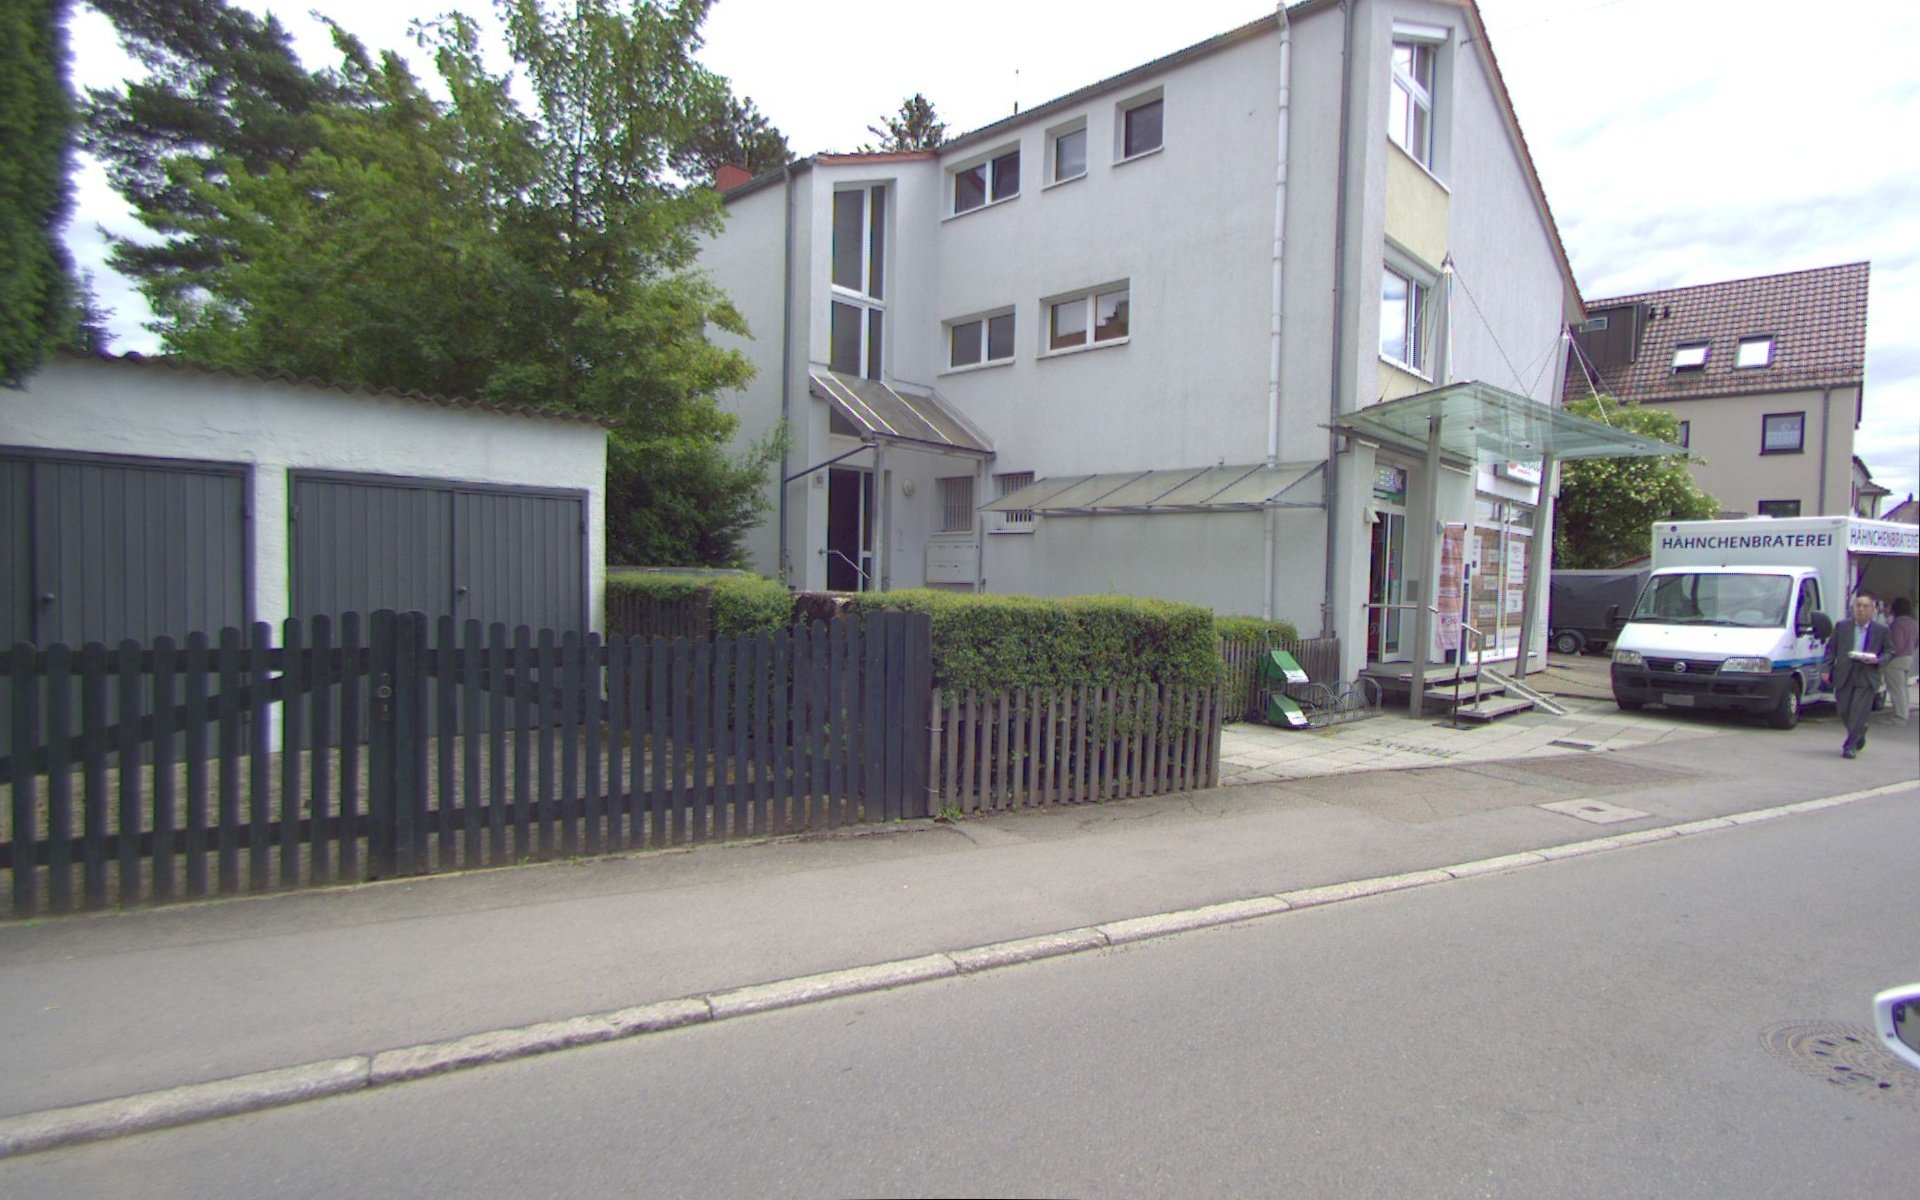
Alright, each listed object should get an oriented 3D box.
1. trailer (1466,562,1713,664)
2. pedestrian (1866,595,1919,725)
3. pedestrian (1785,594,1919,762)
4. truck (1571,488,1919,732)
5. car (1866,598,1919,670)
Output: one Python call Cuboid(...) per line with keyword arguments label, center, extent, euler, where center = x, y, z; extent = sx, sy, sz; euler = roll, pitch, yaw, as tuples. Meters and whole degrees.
Cuboid(label="trailer", center=(15.417, 0.210, 24.899), extent=(1.687, 2.108, 4.827), euler=(-1, 5, -36))
Cuboid(label="pedestrian", center=(12.864, 0.809, 13.801), extent=(0.591, 1.718, 0.398), euler=(1, 3, -36))
Cuboid(label="pedestrian", center=(9.788, 0.824, 11.009), extent=(1.096, 1.709, 0.719), euler=(1, 3, -30))
Cuboid(label="truck", center=(11.865, 0.132, 14.786), extent=(6.642, 2.879, 2.456), euler=(1, 1, -36))
Cuboid(label="car", center=(25.054, 0.943, 24.460), extent=(1.786, 1.718, 4.268), euler=(0, 4, -44))
